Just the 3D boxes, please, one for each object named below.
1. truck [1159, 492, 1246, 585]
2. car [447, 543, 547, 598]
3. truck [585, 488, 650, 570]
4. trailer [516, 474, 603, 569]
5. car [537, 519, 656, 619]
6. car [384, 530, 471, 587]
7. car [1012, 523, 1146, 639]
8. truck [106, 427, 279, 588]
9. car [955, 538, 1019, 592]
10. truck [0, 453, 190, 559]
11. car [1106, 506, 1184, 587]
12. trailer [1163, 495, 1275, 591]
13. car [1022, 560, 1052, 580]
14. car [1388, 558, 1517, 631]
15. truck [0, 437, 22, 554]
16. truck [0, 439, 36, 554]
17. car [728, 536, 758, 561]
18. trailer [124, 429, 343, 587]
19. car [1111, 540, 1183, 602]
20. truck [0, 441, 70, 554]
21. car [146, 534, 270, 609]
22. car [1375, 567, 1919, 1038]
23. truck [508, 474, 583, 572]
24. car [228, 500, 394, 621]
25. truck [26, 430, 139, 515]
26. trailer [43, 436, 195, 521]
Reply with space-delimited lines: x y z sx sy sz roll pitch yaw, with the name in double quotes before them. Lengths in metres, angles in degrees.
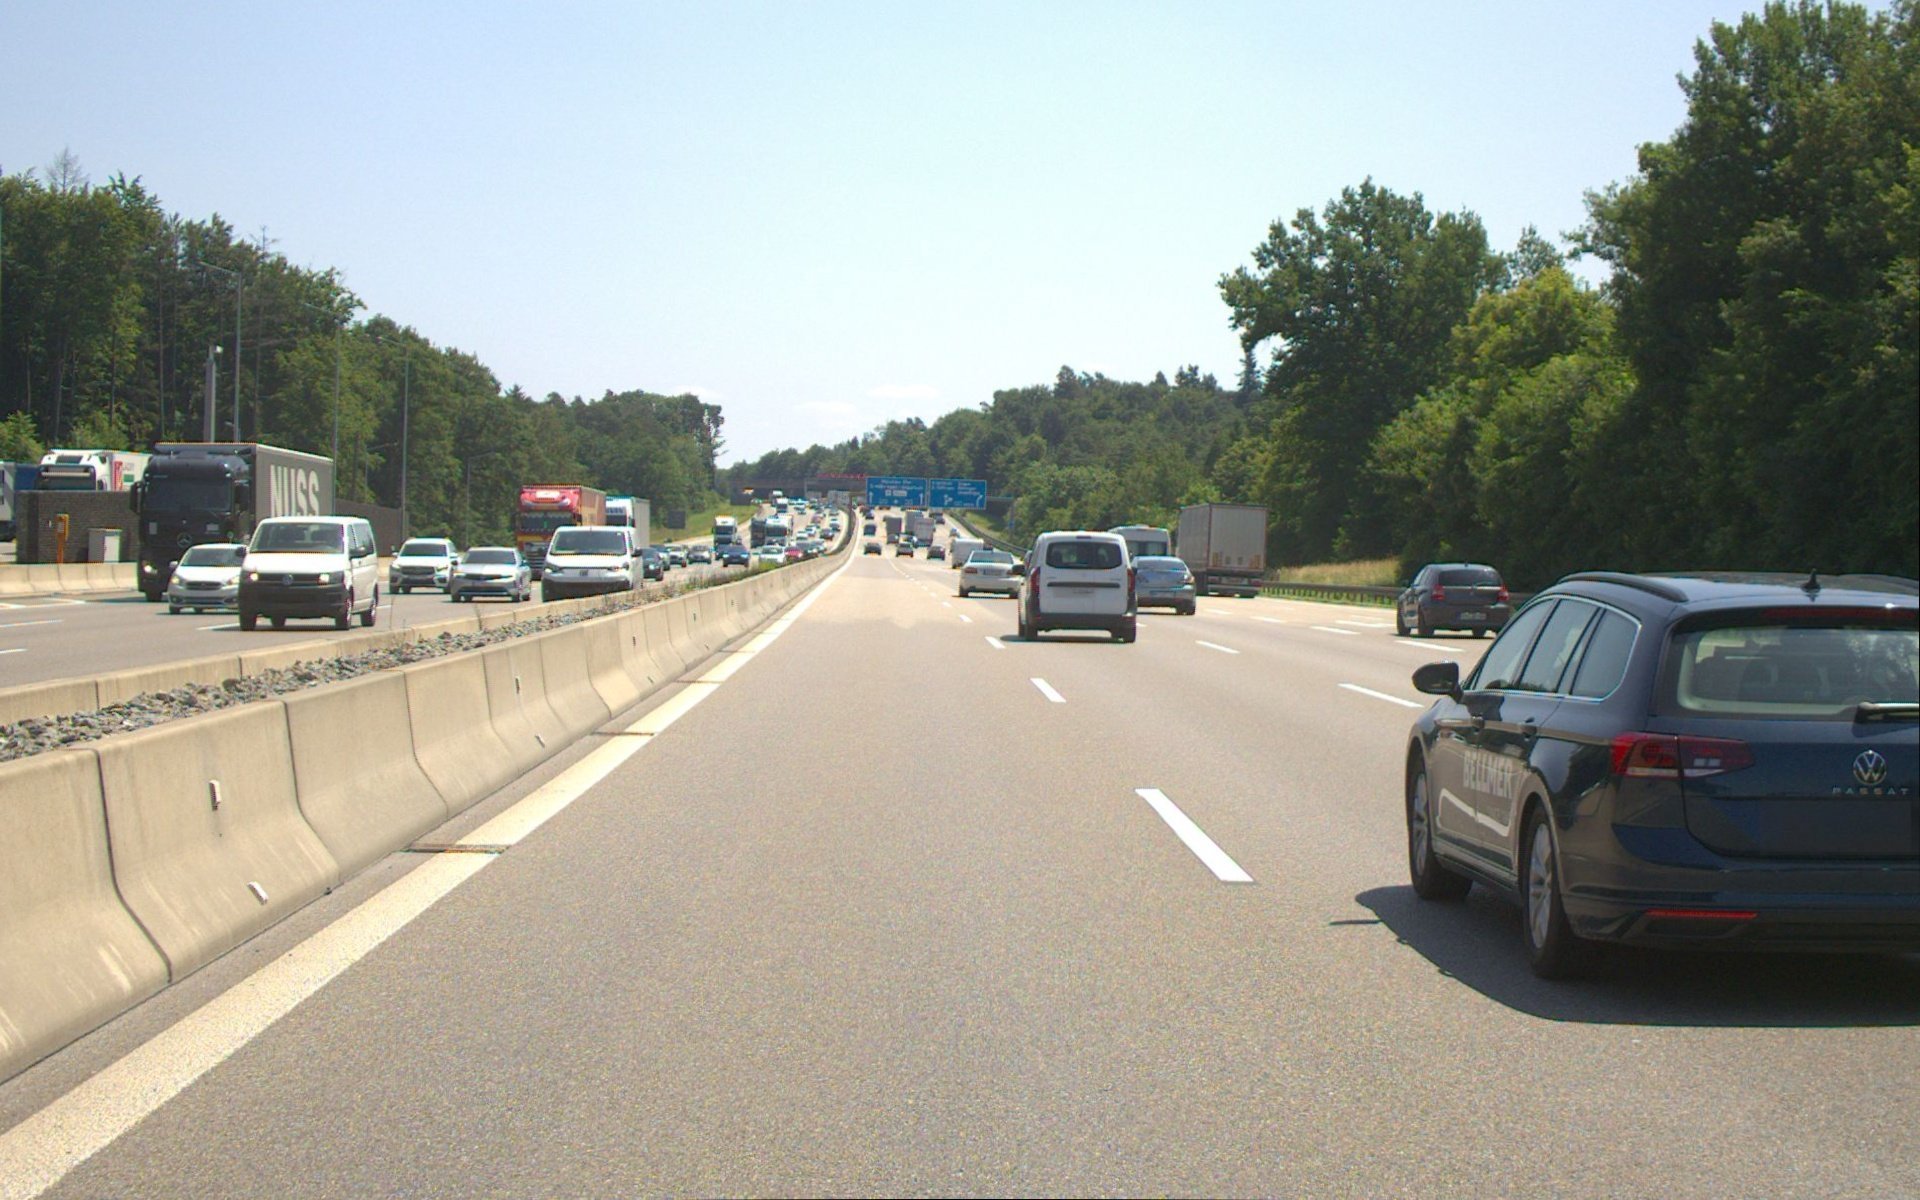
"truck" 11.341 -2.933 161.368 3.254 4.092 5.988 3 2 -2
"car" -12.139 -0.777 90.453 1.993 1.372 5.011 1 1 -1
"truck" -17.415 -3.593 175.282 2.734 4.017 6.782 1 1 -2
"trailer" -17.913 -3.487 154.470 2.571 4.036 14.183 1 1 -2
"car" -7.777 -0.686 74.052 2.077 2.037 5.712 1 1 -1
"car" -16.090 -1.254 104.097 1.993 1.664 4.612 1 1 -1
"car" 1.948 -0.347 57.481 1.859 1.819 4.613 1 1 -2
"truck" -19.623 -2.341 88.200 3.287 3.917 5.540 1 1 -2
"car" 0.815 -1.097 106.527 1.843 1.623 4.554 1 1 -1
"truck" -51.191 -5.250 192.076 3.449 5.593 16.667 2 1 44
"car" 6.421 -1.902 119.698 2.143 2.643 5.710 3 2 -1
"trailer" 11.578 -2.671 155.082 3.287 3.917 13.893 3 2 -2
"car" 5.223 -2.024 233.427 1.835 1.333 3.643 1 1 -2
"car" 9.378 -0.128 65.702 1.670 1.269 4.290 3 1 -2
"truck" -49.296 -5.091 163.570 3.226 5.593 8.466 2 1 43
"truck" -50.882 -5.171 166.889 3.226 5.593 11.508 2 1 43
"car" -16.153 -3.830 255.853 1.993 1.768 5.924 1 1 -2
"trailer" -19.850 -2.479 95.032 3.342 3.987 14.280 1 1 -2
"car" 4.652 -0.735 85.982 1.503 1.495 3.650 1 1 -1
"truck" -50.610 -5.238 172.405 3.226 5.593 11.508 2 1 43
"car" -15.592 -0.590 71.448 1.804 1.481 3.811 1 1 -1
"car" 2.824 0.622 13.387 1.729 1.442 4.962 1 1 -1
"truck" -17.758 -3.278 147.454 2.527 4.035 6.473 1 1 -2
"car" -11.387 -0.693 60.618 1.993 2.007 5.130 1 1 -1
"truck" -34.238 -4.947 134.374 2.926 3.113 6.203 2 1 -2
"trailer" -34.414 -4.904 141.373 2.972 3.113 14.611 2 1 -2
